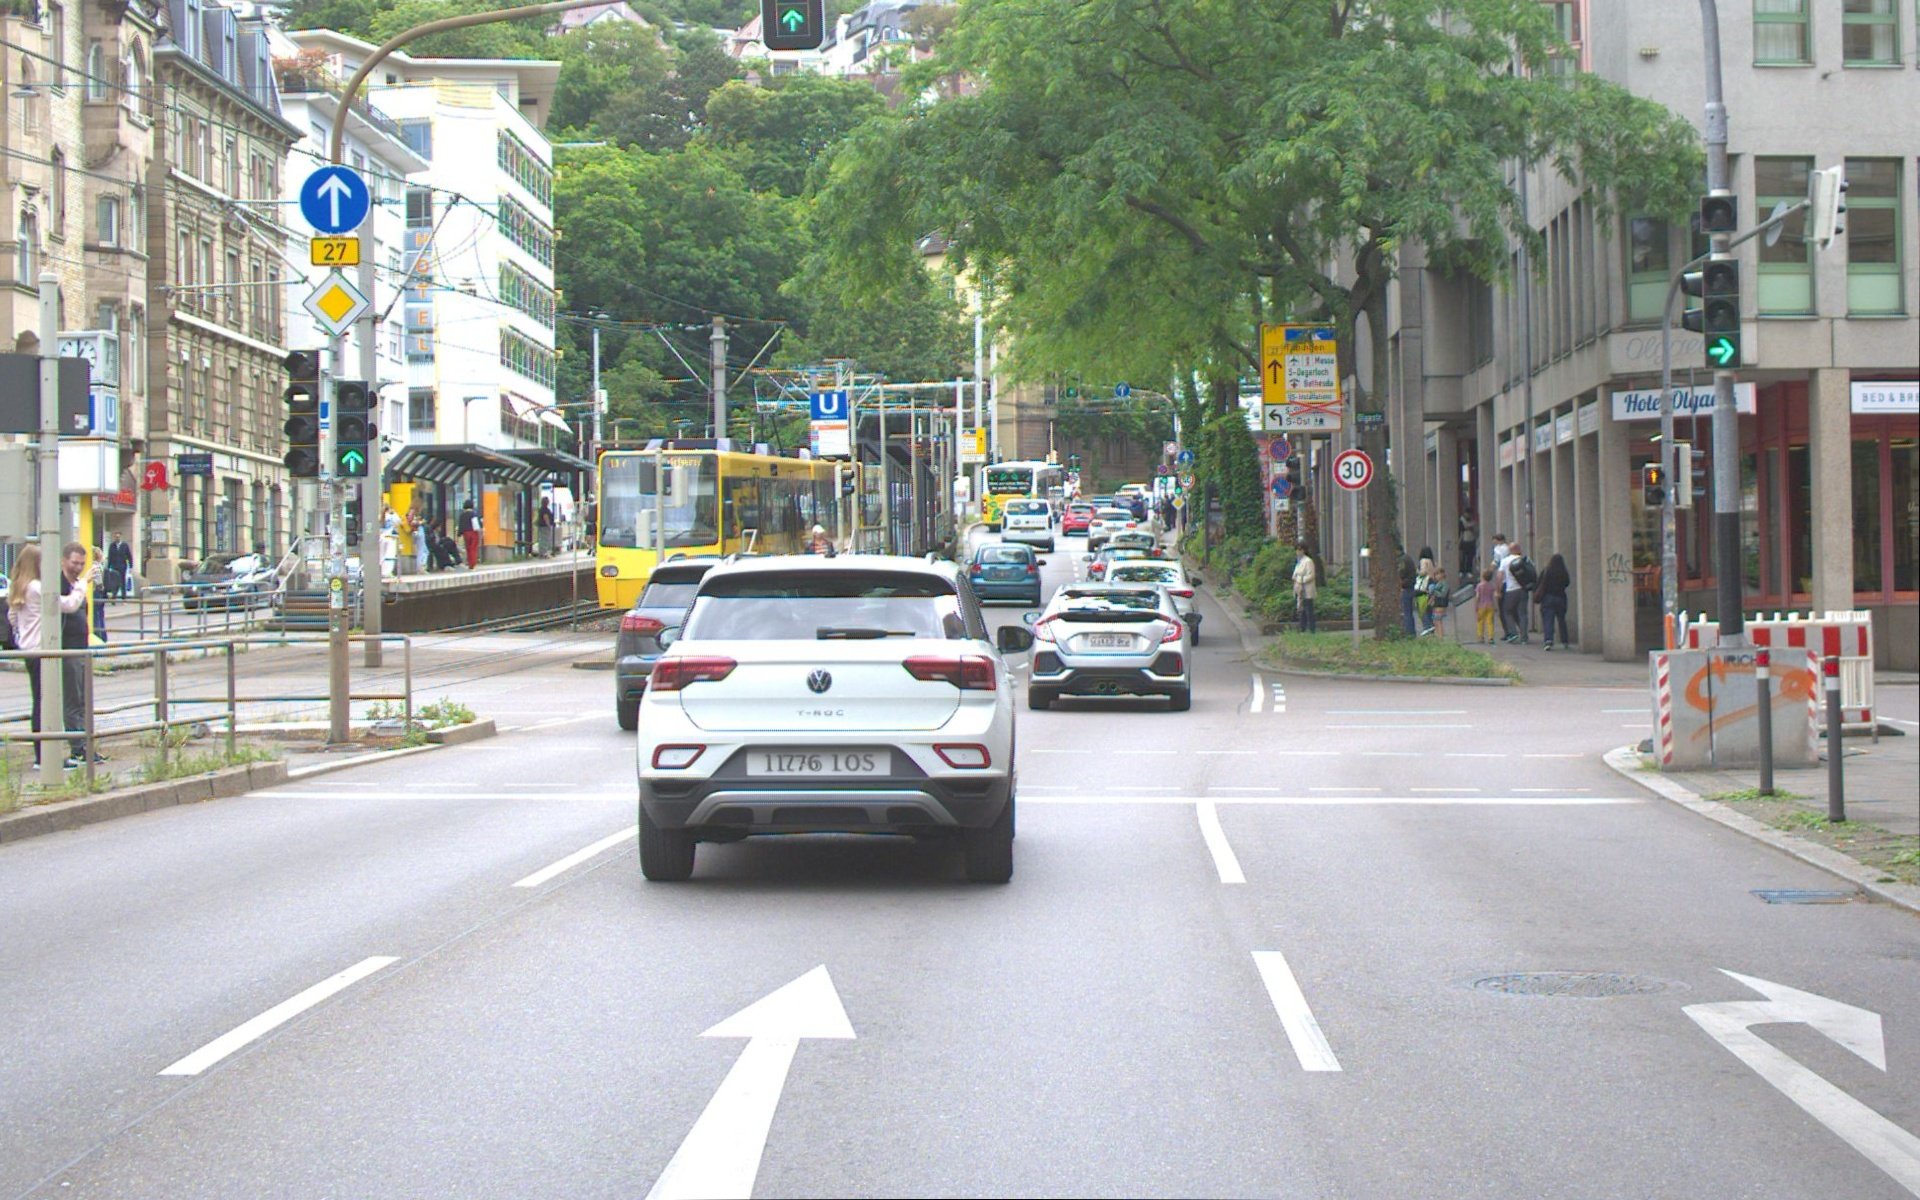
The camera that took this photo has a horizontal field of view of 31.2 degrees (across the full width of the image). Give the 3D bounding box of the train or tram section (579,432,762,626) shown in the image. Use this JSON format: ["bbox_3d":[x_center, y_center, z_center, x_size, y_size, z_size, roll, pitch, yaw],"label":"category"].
[{"bbox_3d":[-5.699,-1.442,68.588,2.835,3.666,5.751,1,1,3],"label":"train or tram section"}]

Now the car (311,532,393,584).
[{"bbox_3d":[-18.163,-1.249,102.888,1.559,1.518,3.600,1,1,4],"label":"car"}]

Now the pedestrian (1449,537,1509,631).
[{"bbox_3d":[8.649,-0.269,57.303,0.835,1.557,0.764,1,0,-1],"label":"pedestrian"}]

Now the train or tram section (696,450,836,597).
[{"bbox_3d":[-4.793,-1.926,85.863,2.835,3.509,5.751,1,1,3],"label":"train or tram section"}]

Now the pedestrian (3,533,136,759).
[{"bbox_3d":[-6.854,0.347,26.494,0.792,1.715,0.772,0,1,2],"label":"pedestrian"}]

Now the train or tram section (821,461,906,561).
[{"bbox_3d":[-3.646,-3.406,131.419,2.813,3.653,6.751,1,1,1],"label":"train or tram section"}]

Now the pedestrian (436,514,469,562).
[{"bbox_3d":[-11.761,-1.432,79.666,0.635,1.104,0.690,0,2,2],"label":"pedestrian"}]

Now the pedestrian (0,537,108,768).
[{"bbox_3d":[-6.882,0.383,25.852,0.764,1.715,0.637,0,1,2],"label":"pedestrian"}]

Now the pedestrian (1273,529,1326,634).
[{"bbox_3d":[5.916,-0.323,59.917,0.693,1.771,0.689,-5,1,-1],"label":"pedestrian"}]

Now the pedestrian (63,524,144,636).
[{"bbox_3d":[-13.124,-0.313,52.695,0.876,1.699,0.811,0,1,32],"label":"pedestrian"}]

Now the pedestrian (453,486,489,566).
[{"bbox_3d":[-10.869,-1.645,76.476,0.627,1.756,0.846,0,1,4],"label":"pedestrian"}]

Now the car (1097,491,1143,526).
[{"bbox_3d":[8.224,-4.666,176.043,1.885,1.678,4.159,1,1,9],"label":"car"}]

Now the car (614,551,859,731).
[{"bbox_3d":[-2.100,0.372,33.342,1.993,1.630,4.000,0,0,2],"label":"car"}]

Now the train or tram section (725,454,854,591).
[{"bbox_3d":[-4.495,-2.079,91.613,2.835,3.509,5.751,1,1,3],"label":"train or tram section"}]

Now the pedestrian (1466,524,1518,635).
[{"bbox_3d":[8.994,-0.344,58.136,0.733,1.868,0.733,0,0,-1],"label":"pedestrian"}]

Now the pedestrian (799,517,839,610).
[{"bbox_3d":[-2.598,-0.671,63.501,0.685,1.705,0.712,0,1,2],"label":"pedestrian"}]

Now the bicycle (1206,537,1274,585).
[{"bbox_3d":[6.992,-0.969,85.787,1.620,1.124,0.613,-2,1,7],"label":"bicycle"}]

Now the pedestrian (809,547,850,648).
[{"bbox_3d":[-2.234,-0.051,59.065,0.635,1.705,0.871,0,1,2],"label":"pedestrian"}]

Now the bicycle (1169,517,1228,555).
[{"bbox_3d":[8.160,-2.186,117.725,1.882,1.262,0.764,1,0,14],"label":"bicycle"}]

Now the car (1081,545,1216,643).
[{"bbox_3d":[3.336,-0.129,61.631,1.884,1.678,4.162,1,1,-4],"label":"car"}]

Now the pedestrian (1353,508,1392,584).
[{"bbox_3d":[9.938,-1.309,82.853,0.762,1.776,0.848,-2,3,-2],"label":"pedestrian"}]

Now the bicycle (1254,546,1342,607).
[{"bbox_3d":[6.934,-0.478,70.480,1.707,1.180,0.449,-2,1,-4],"label":"bicycle"}]

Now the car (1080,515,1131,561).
[{"bbox_3d":[5.524,-2.315,130.029,1.885,1.678,4.161,1,1,3],"label":"car"}]

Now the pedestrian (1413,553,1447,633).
[{"bbox_3d":[7.881,-0.116,57.623,0.471,1.329,0.520,1,0,-2],"label":"pedestrian"}]

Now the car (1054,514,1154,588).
[{"bbox_3d":[4.023,-1.365,96.869,2.364,2.007,5.149,1,1,-2],"label":"car"}]

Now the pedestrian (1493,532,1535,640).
[{"bbox_3d":[9.233,-0.228,57.320,0.518,1.783,0.764,1,0,-2],"label":"pedestrian"}]

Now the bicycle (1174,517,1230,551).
[{"bbox_3d":[8.395,-2.294,119.205,1.881,1.133,0.808,1,0,9],"label":"bicycle"}]

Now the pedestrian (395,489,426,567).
[{"bbox_3d":[-12.006,-1.581,75.135,0.635,1.705,0.690,0,1,-6],"label":"pedestrian"}]

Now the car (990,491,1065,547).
[{"bbox_3d":[2.556,-3.016,128.732,2.365,2.007,5.147,1,1,6],"label":"car"}]

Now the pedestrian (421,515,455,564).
[{"bbox_3d":[-11.847,-1.384,78.102,0.635,1.104,0.690,0,2,2],"label":"pedestrian"}]

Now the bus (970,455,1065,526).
[{"bbox_3d":[2.832,-5.182,164.969,3.372,3.054,13.322,1,1,6],"label":"bus"}]

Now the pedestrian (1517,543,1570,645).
[{"bbox_3d":[9.447,-0.096,55.669,0.762,1.606,0.618,-1,3,14],"label":"pedestrian"}]

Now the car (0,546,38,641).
[{"bbox_3d":[-16.513,-0.090,55.230,1.657,1.547,4.534,0,1,8],"label":"car"}]

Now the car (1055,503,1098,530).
[{"bbox_3d":[5.291,-3.764,155.632,1.582,1.168,3.677,1,1,7],"label":"car"}]

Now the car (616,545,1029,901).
[{"bbox_3d":[-0.689,0.535,17.575,1.837,1.578,4.157,1,1,-2],"label":"car"}]

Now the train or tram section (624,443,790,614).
[{"bbox_3d":[-5.410,-1.570,74.346,2.835,3.509,5.751,1,1,3],"label":"train or tram section"}]

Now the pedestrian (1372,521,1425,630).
[{"bbox_3d":[7.475,-0.427,58.578,0.721,1.796,0.835,-2,3,-1],"label":"pedestrian"}]

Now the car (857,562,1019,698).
[{"bbox_3d":[-0.266,0.384,48.471,1.912,1.683,4.000,1,2,4],"label":"car"}]

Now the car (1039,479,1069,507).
[{"bbox_3d":[5.466,-6.245,200.547,1.673,1.555,3.986,1,1,2],"label":"car"}]

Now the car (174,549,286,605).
[{"bbox_3d":[-18.352,-0.595,86.529,1.632,1.370,3.782,0,1,7],"label":"car"}]

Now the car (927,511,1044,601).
[{"bbox_3d":[0.637,-1.022,80.182,2.365,2.007,5.147,1,1,4],"label":"car"}]

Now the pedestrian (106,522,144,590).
[{"bbox_3d":[-21.630,-1.132,89.034,0.627,1.756,0.846,-1,1,-40],"label":"pedestrian"}]

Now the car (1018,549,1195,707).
[{"bbox_3d":[1.658,0.278,39.151,1.885,1.678,4.161,1,1,2],"label":"car"}]

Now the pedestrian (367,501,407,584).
[{"bbox_3d":[-11.835,-1.182,70.973,0.688,1.705,0.662,0,1,2],"label":"pedestrian"}]

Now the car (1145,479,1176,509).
[{"bbox_3d":[11.272,-5.969,193.451,1.673,1.555,3.678,1,1,2],"label":"car"}]

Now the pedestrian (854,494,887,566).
[{"bbox_3d":[-2.175,-1.689,83.445,0.718,1.725,0.670,1,0,4],"label":"pedestrian"}]
